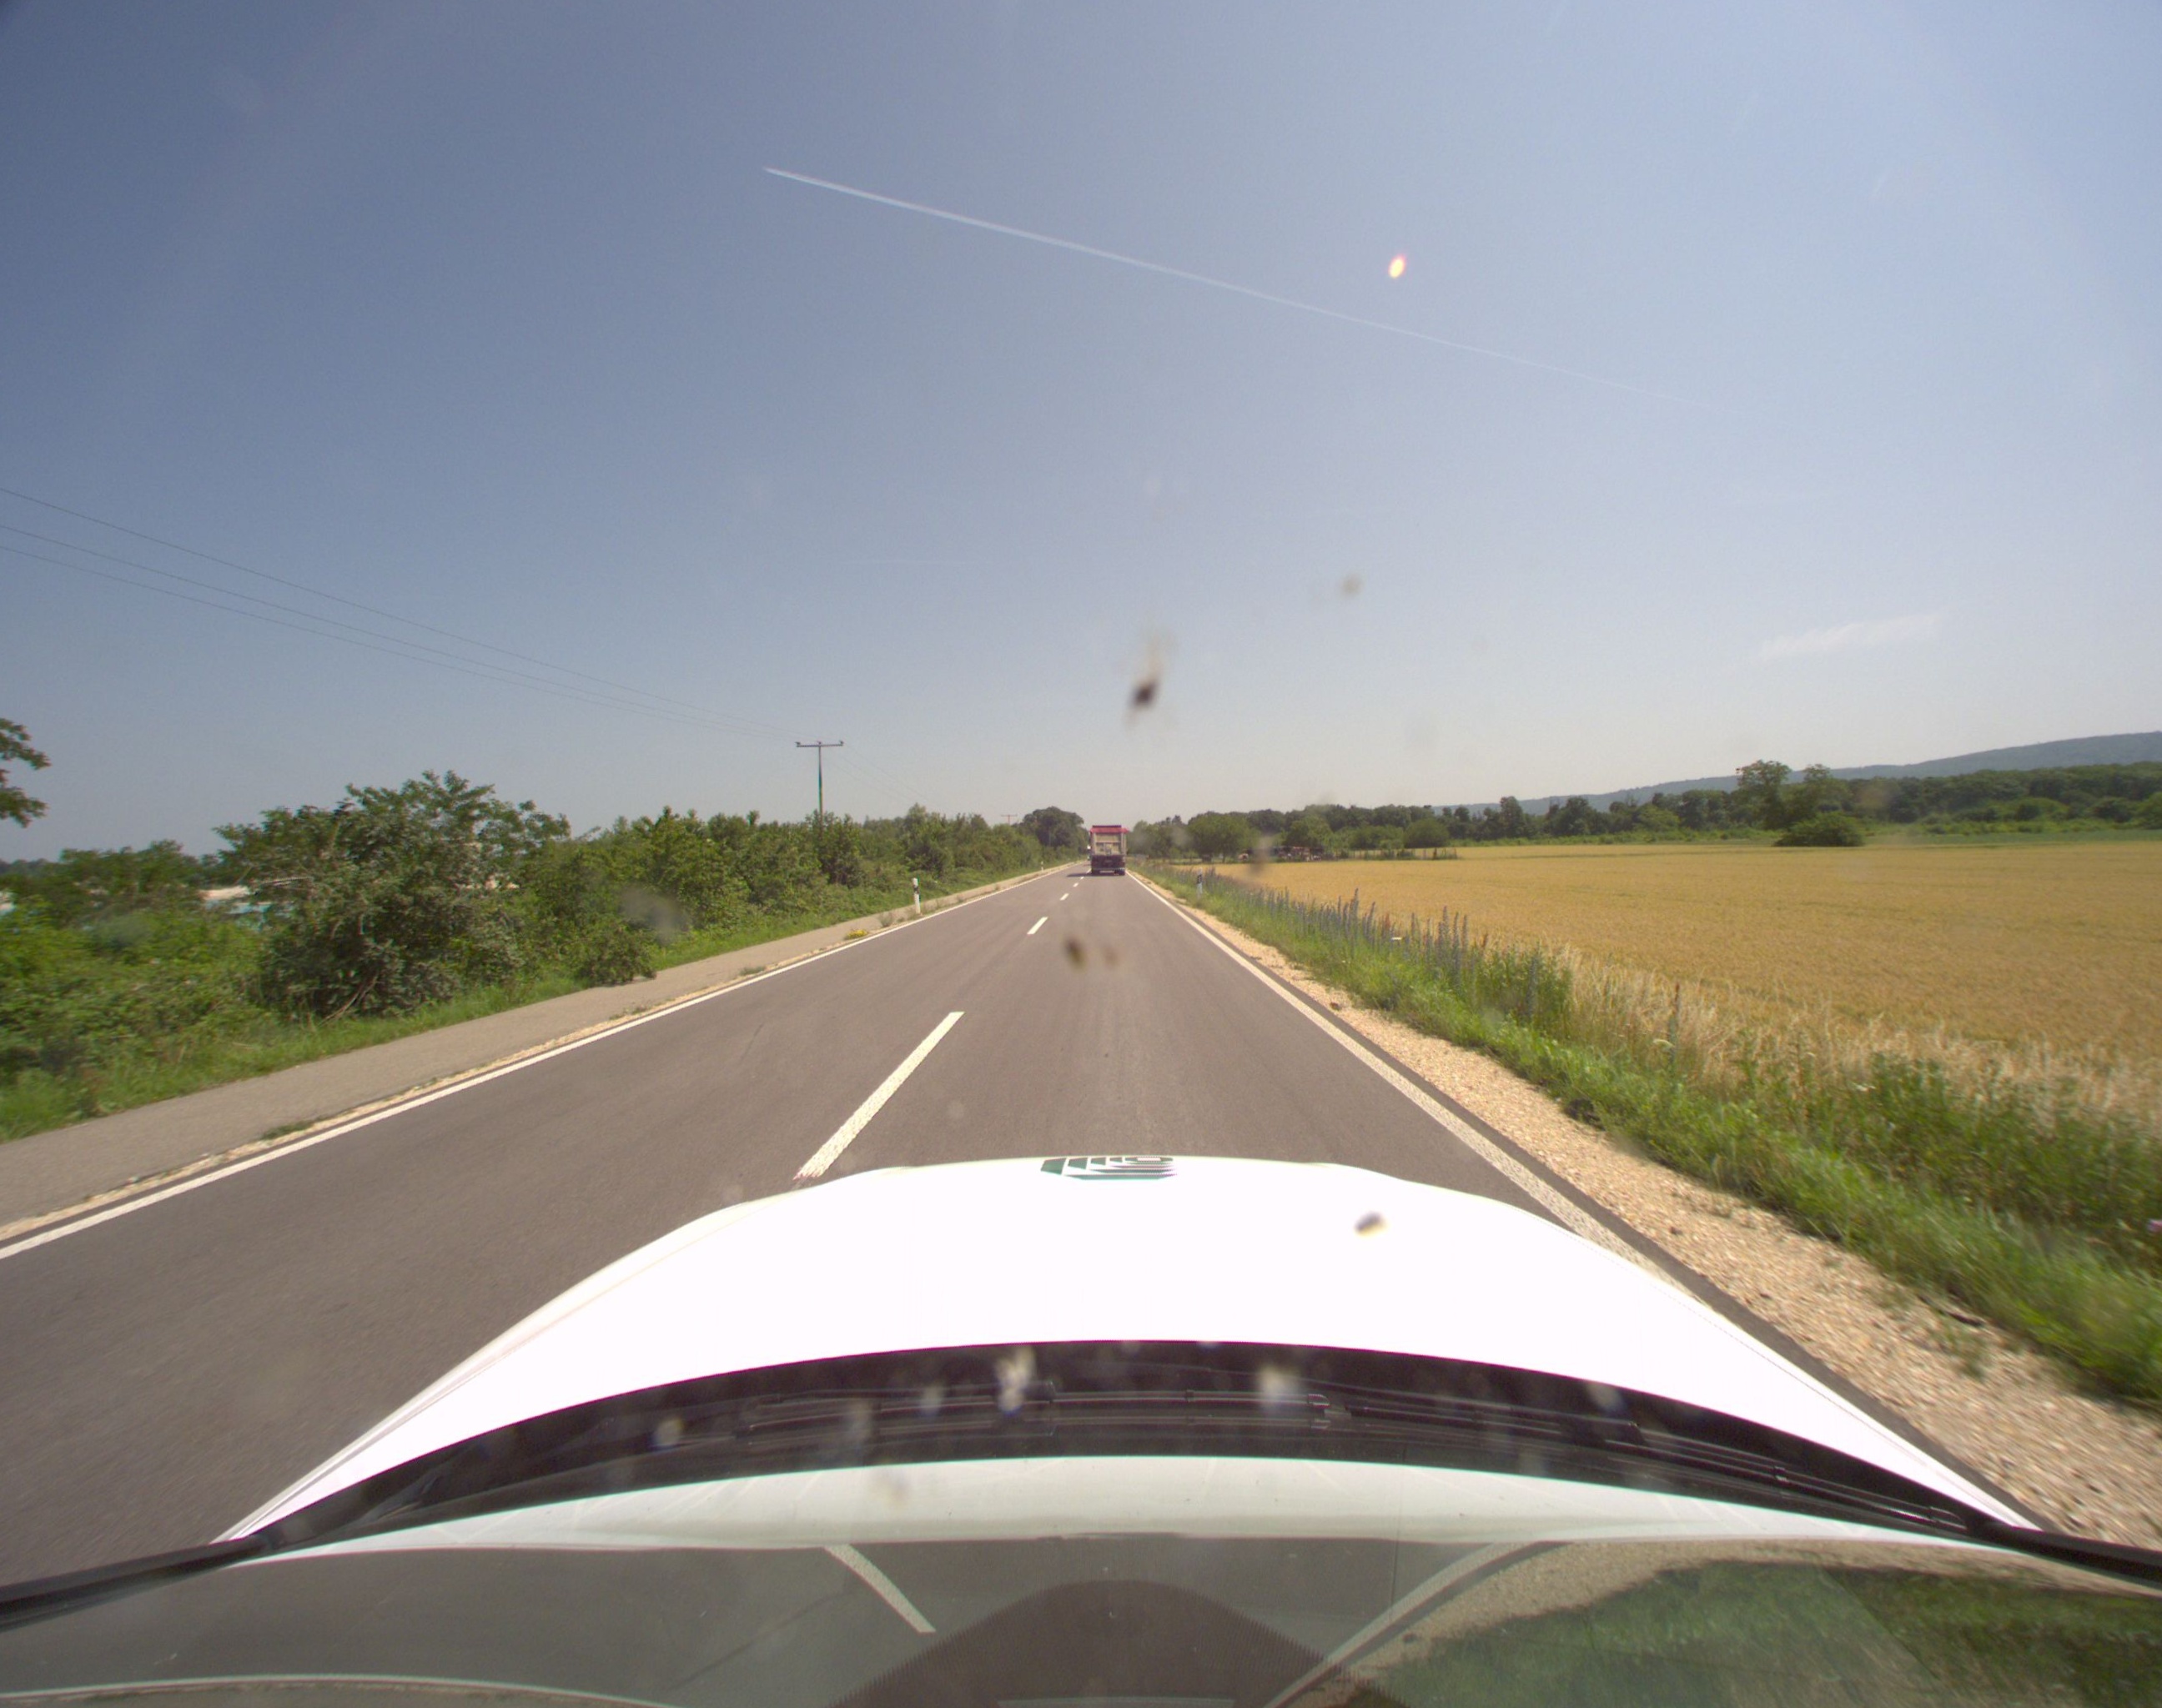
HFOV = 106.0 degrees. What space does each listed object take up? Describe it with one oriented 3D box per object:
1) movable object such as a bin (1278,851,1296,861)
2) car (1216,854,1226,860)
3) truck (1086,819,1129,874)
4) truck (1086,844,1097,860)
[{"bbox_3d":[30.166,0.301,119.416,1.567,1.496,3.655,-1,0,-3],"label":"movable object such as a bin"},{"bbox_3d":[33.029,0.726,192.313,1.591,1.486,3.420,-1,0,-6],"label":"car"},{"bbox_3d":[2.048,-0.498,63.224,2.998,3.874,12.212,0,0,2],"label":"truck"},{"bbox_3d":[2.904,-0.534,222.263,2.707,4.266,7.392,-3,0,2],"label":"truck"}]
